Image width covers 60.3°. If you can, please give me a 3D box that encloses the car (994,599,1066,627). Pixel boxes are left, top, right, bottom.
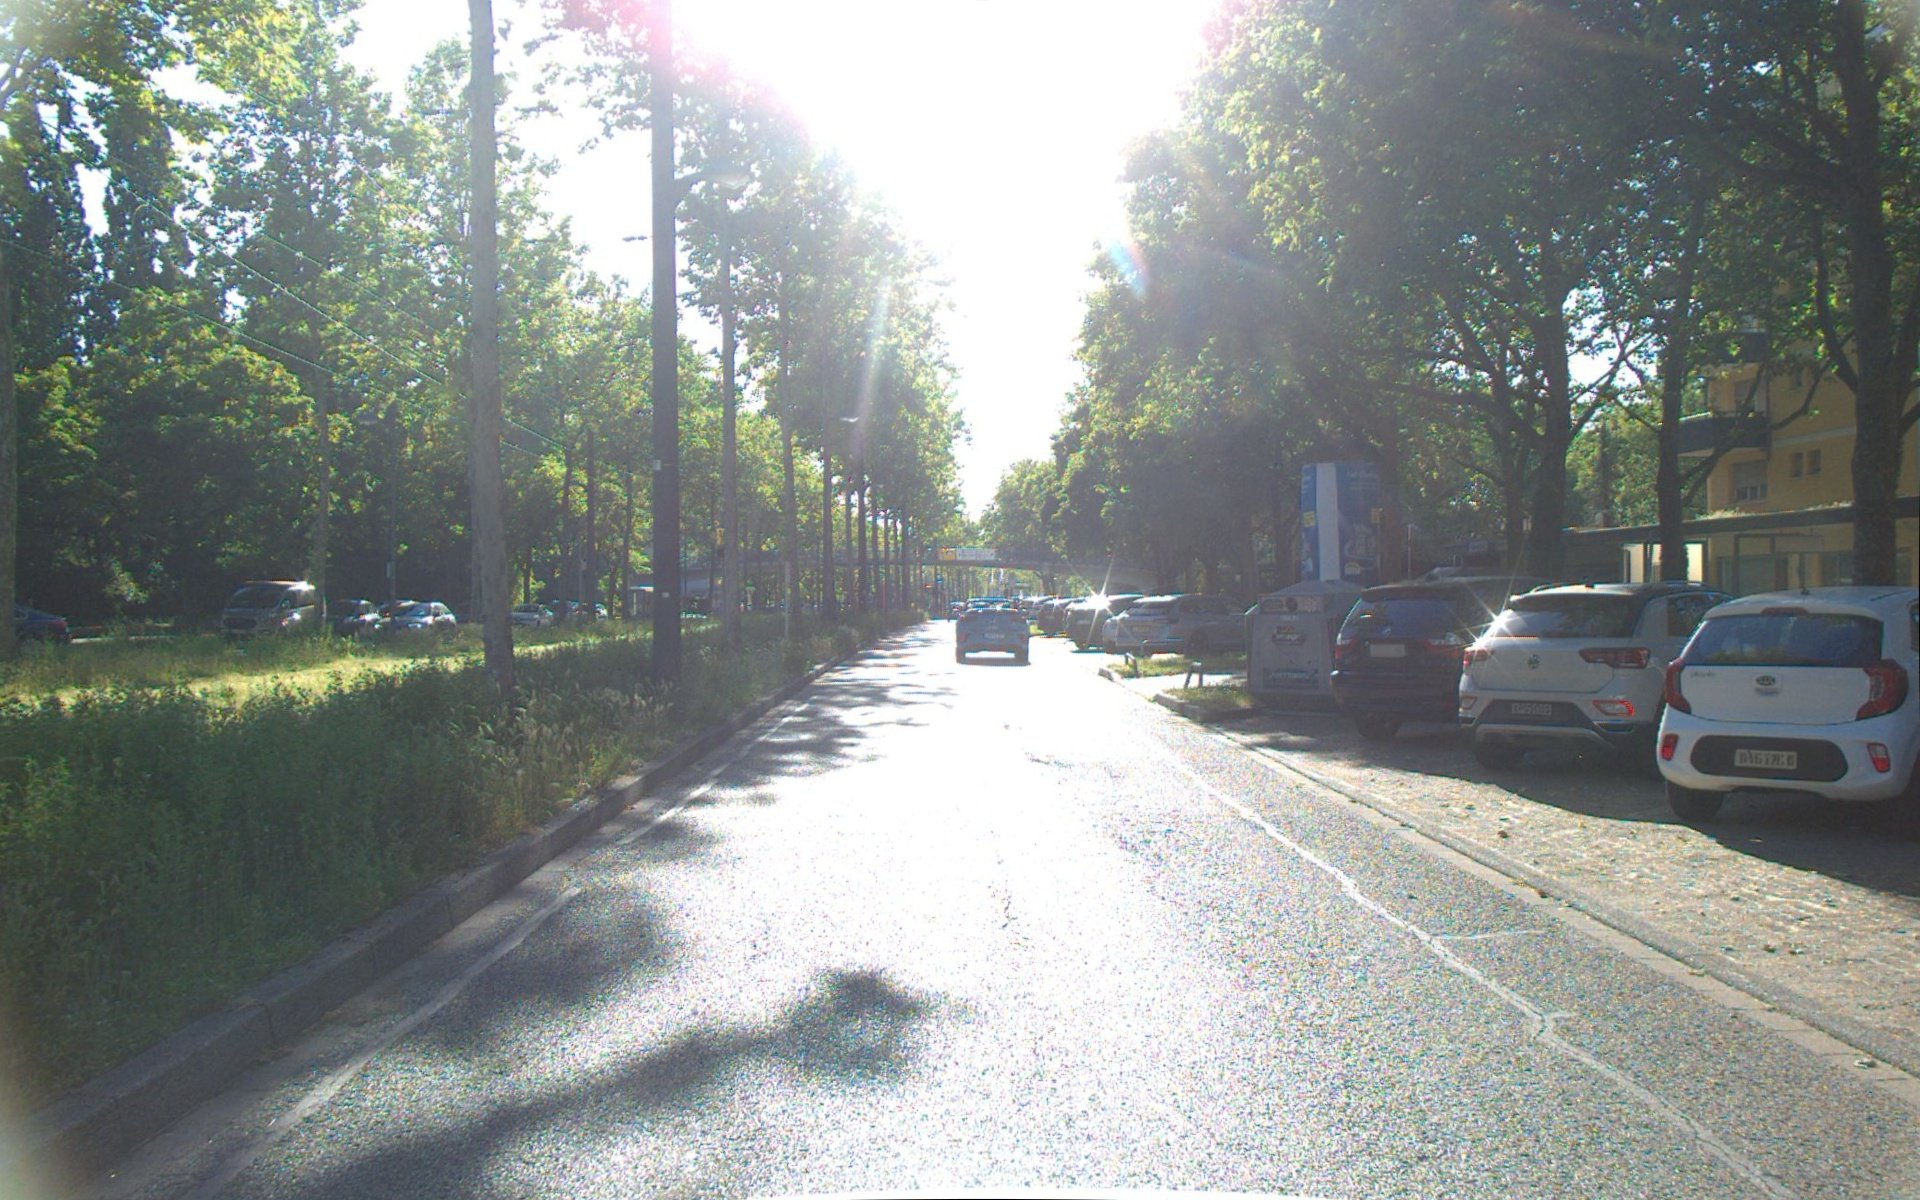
[{"bbox_3d":[4.391,0.839,103.108,4.587,1.710,1.827,1,-1,-43],"label":"car"}]

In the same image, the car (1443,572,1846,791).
[{"bbox_3d":[6.085,0.603,14.482,4.053,1.610,1.753,-2,0,-43],"label":"car"}]

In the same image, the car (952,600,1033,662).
[{"bbox_3d":[0.770,0.728,40.820,1.883,1.436,4.000,1,0,0],"label":"car"}]

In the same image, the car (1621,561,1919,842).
[{"bbox_3d":[6.385,0.554,11.523,4.053,1.610,1.753,-2,0,-43],"label":"car"}]

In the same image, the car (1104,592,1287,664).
[{"bbox_3d":[5.440,0.607,37.832,4.461,1.469,1.826,-2,0,-45],"label":"car"}]

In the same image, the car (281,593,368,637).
[{"bbox_3d":[-22.922,0.536,59.793,1.611,1.478,3.664,2,0,1],"label":"car"}]

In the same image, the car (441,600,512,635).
[{"bbox_3d":[-22.036,0.769,75.527,1.952,1.478,4.000,2,0,1],"label":"car"}]

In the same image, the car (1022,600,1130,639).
[{"bbox_3d":[4.708,0.762,66.742,1.945,1.484,4.595,-1,0,43],"label":"car"}]

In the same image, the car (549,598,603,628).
[{"bbox_3d":[-21.961,0.721,94.704,1.952,1.617,4.168,2,0,1],"label":"car"}]

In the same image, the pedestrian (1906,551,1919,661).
[{"bbox_3d":[17.406,0.100,29.200,0.856,1.947,0.869,0,0,-9],"label":"pedestrian"}]

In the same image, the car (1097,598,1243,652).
[{"bbox_3d":[5.792,0.676,45.297,4.297,1.320,1.664,-2,0,-45],"label":"car"}]

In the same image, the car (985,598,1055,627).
[{"bbox_3d":[3.841,0.825,106.069,4.587,1.799,1.827,1,-1,-43],"label":"car"}]

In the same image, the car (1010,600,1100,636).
[{"bbox_3d":[4.761,0.892,82.357,4.587,1.710,1.827,1,-1,-43],"label":"car"}]

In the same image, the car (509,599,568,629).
[{"bbox_3d":[-22.251,0.738,87.394,1.952,1.478,4.000,2,0,1],"label":"car"}]

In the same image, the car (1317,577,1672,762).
[{"bbox_3d":[5.796,0.646,17.688,4.280,1.747,1.612,0,0,-40],"label":"car"}]

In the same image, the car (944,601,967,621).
[{"bbox_3d":[-0.369,0.874,132.601,1.811,1.562,3.866,0,0,0],"label":"car"}]

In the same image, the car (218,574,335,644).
[{"bbox_3d":[-22.369,0.348,54.339,1.611,2.130,4.915,2,-1,1],"label":"car"}]

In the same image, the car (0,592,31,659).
[{"bbox_3d":[-24.629,0.635,39.024,4.452,1.596,1.767,0,0,-44],"label":"car"}]

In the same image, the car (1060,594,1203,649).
[{"bbox_3d":[5.033,0.614,48.224,4.297,1.449,1.826,-2,0,-45],"label":"car"}]
